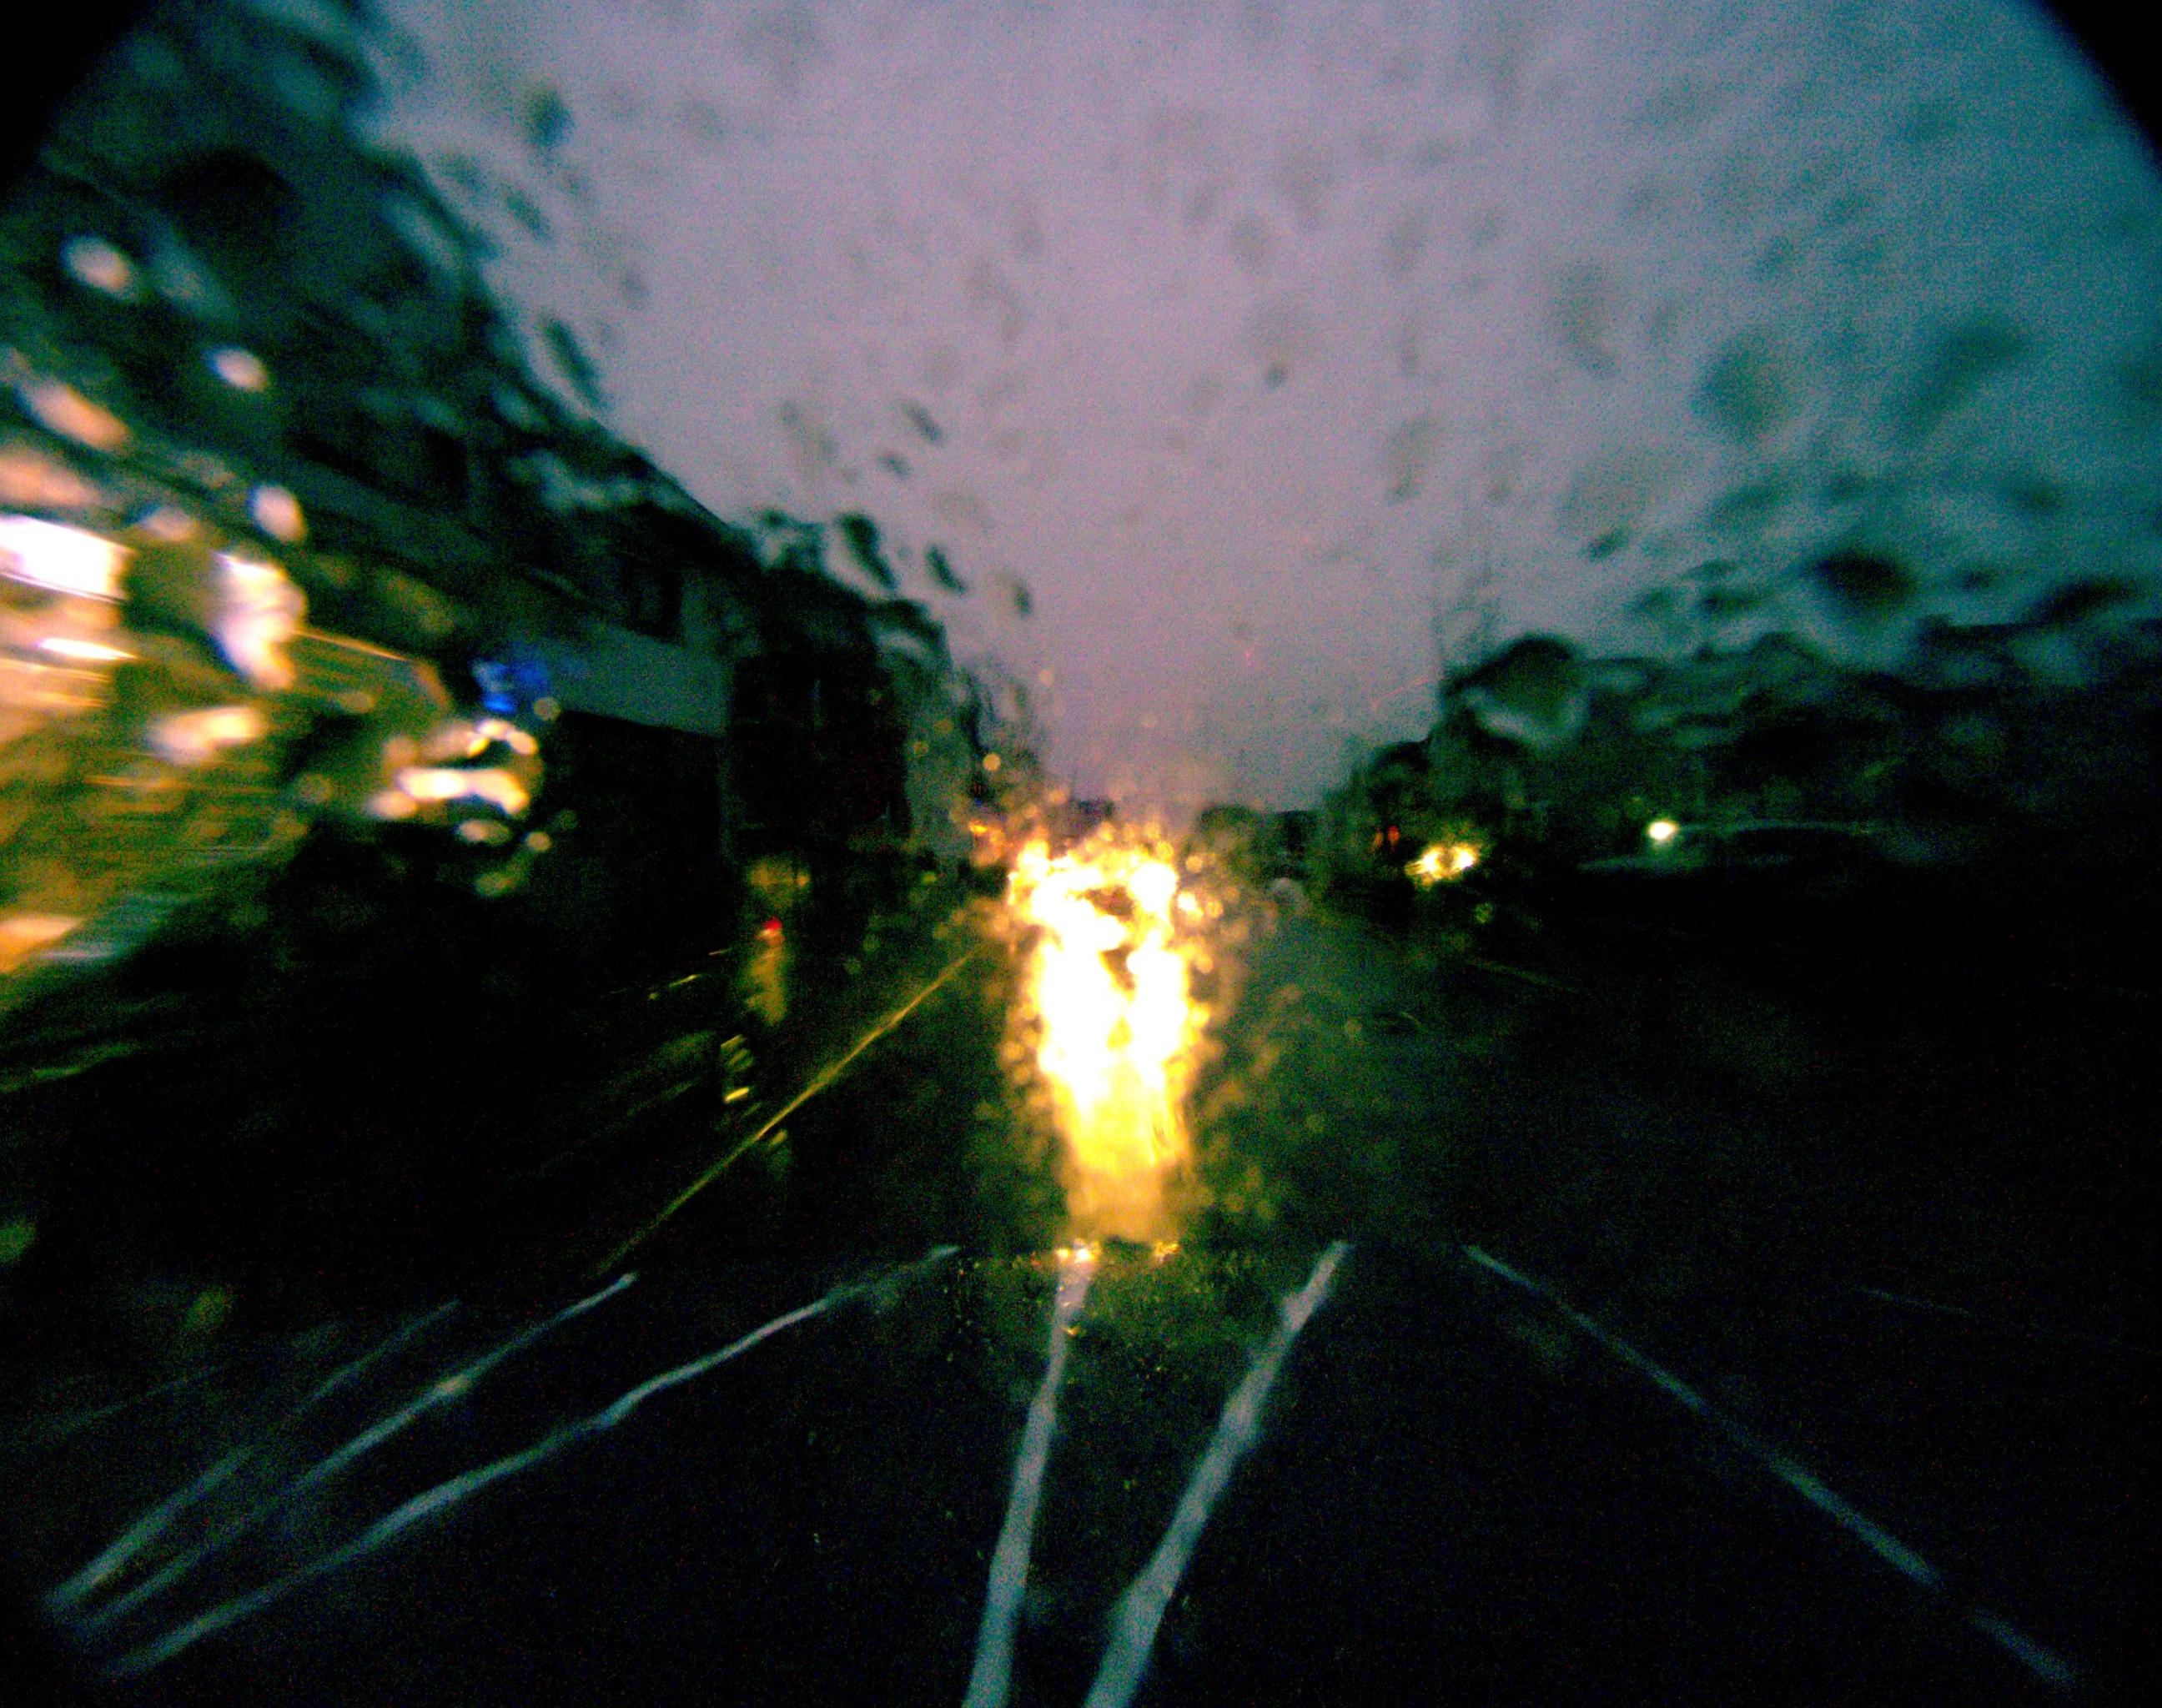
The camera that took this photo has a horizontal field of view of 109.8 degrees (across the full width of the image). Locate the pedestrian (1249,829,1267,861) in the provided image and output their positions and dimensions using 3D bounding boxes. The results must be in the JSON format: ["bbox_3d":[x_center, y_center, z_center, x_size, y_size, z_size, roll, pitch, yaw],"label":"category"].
[{"bbox_3d":[9.798,-0.473,42.160,0.750,1.732,0.687,-3,1,0],"label":"pedestrian"}]

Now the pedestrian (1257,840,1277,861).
[{"bbox_3d":[10.544,-0.208,43.191,0.990,1.151,0.902,-2,-1,9],"label":"pedestrian"}]

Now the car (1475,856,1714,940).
[{"bbox_3d":[9.706,0.795,14.536,3.453,1.364,1.601,-3,0,-1],"label":"car"}]

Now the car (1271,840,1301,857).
[{"bbox_3d":[25.922,-0.712,96.037,1.936,1.871,3.866,-4,3,-14],"label":"car"}]

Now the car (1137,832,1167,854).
[{"bbox_3d":[7.155,-1.122,76.350,2.055,1.976,4.540,-2,3,17],"label":"car"}]

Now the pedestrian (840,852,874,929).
[{"bbox_3d":[-4.901,0.779,16.687,0.620,1.617,0.905,-2,0,-13],"label":"pedestrian"}]

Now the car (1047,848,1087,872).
[{"bbox_3d":[-1.092,0.404,55.365,2.029,1.471,4.551,-3,3,-12],"label":"car"}]

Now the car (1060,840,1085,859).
[{"bbox_3d":[-0.772,-0.435,71.129,2.172,1.469,3.997,-3,3,0],"label":"car"}]

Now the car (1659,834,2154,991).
[{"bbox_3d":[9.678,0.641,9.175,4.102,1.599,1.587,-2,2,3],"label":"car"}]

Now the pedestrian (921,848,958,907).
[{"bbox_3d":[-4.172,0.668,22.500,0.713,1.705,1.035,0,1,13],"label":"pedestrian"}]

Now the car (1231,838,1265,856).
[{"bbox_3d":[20.737,-0.882,94.671,1.974,1.984,3.990,-4,3,-27],"label":"car"}]

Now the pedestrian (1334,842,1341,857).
[{"bbox_3d":[28.382,-0.543,84.002,0.582,1.602,0.500,-3,3,4],"label":"pedestrian"}]

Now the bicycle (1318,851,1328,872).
[{"bbox_3d":[12.233,0.355,38.420,0.470,1.004,1.741,-1,1,16],"label":"bicycle"}]

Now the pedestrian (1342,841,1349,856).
[{"bbox_3d":[29.291,-0.605,84.052,0.582,1.602,0.500,-3,3,4],"label":"pedestrian"}]

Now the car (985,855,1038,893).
[{"bbox_3d":[-2.890,0.800,32.529,1.732,1.456,4.199,1,0,2],"label":"car"}]

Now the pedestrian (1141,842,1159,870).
[{"bbox_3d":[4.602,0.129,50.734,0.789,1.752,0.769,0,5,43],"label":"pedestrian"}]

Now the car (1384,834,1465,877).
[{"bbox_3d":[14.507,0.056,32.406,1.758,1.691,4.566,1,0,6],"label":"car"}]

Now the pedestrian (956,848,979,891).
[{"bbox_3d":[-4.513,0.618,30.332,0.530,1.644,0.954,-2,3,10],"label":"pedestrian"}]

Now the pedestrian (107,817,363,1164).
[{"bbox_3d":[-4.408,0.661,4.010,0.574,1.690,0.653,0,2,1],"label":"pedestrian"}]

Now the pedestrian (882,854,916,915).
[{"bbox_3d":[-4.949,0.808,20.669,0.480,1.621,1.020,0,1,13],"label":"pedestrian"}]

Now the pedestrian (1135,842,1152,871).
[{"bbox_3d":[4.134,0.146,50.066,0.789,1.856,0.711,0,5,43],"label":"pedestrian"}]

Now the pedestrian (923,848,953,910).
[{"bbox_3d":[-4.229,0.724,22.481,0.530,1.790,0.865,-2,1,10],"label":"pedestrian"}]

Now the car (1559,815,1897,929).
[{"bbox_3d":[9.945,0.246,11.905,3.803,1.514,1.714,-2,2,2],"label":"car"}]

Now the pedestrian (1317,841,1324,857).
[{"bbox_3d":[24.745,-0.490,78.509,0.582,1.602,0.500,-3,3,4],"label":"pedestrian"}]

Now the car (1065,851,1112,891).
[{"bbox_3d":[0.398,0.706,33.933,1.762,1.471,4.019,-3,2,4],"label":"car"}]

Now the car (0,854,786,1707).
[{"bbox_3d":[-2.849,0.892,2.898,1.740,1.682,4.385,-1,1,-1],"label":"car"}]

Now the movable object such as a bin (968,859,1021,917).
[{"bbox_3d":[-2.211,0.860,19.668,1.131,1.412,1.417,2,0,2],"label":"movable object such as a bin"}]

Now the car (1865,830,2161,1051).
[{"bbox_3d":[9.803,0.591,6.505,4.137,1.490,1.878,-3,3,2],"label":"car"}]

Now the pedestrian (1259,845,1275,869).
[{"bbox_3d":[10.133,0.154,41.379,0.687,1.264,0.750,-3,1,4],"label":"pedestrian"}]

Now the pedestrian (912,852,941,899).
[{"bbox_3d":[-5.545,0.764,27.370,0.748,1.669,1.052,0,1,6],"label":"pedestrian"}]

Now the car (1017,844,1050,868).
[{"bbox_3d":[-3.970,0.123,62.942,1.827,1.736,3.993,-4,3,-15],"label":"car"}]

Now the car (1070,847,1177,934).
[{"bbox_3d":[0.797,0.704,16.906,1.958,1.576,4.108,-2,1,-2],"label":"car"}]
